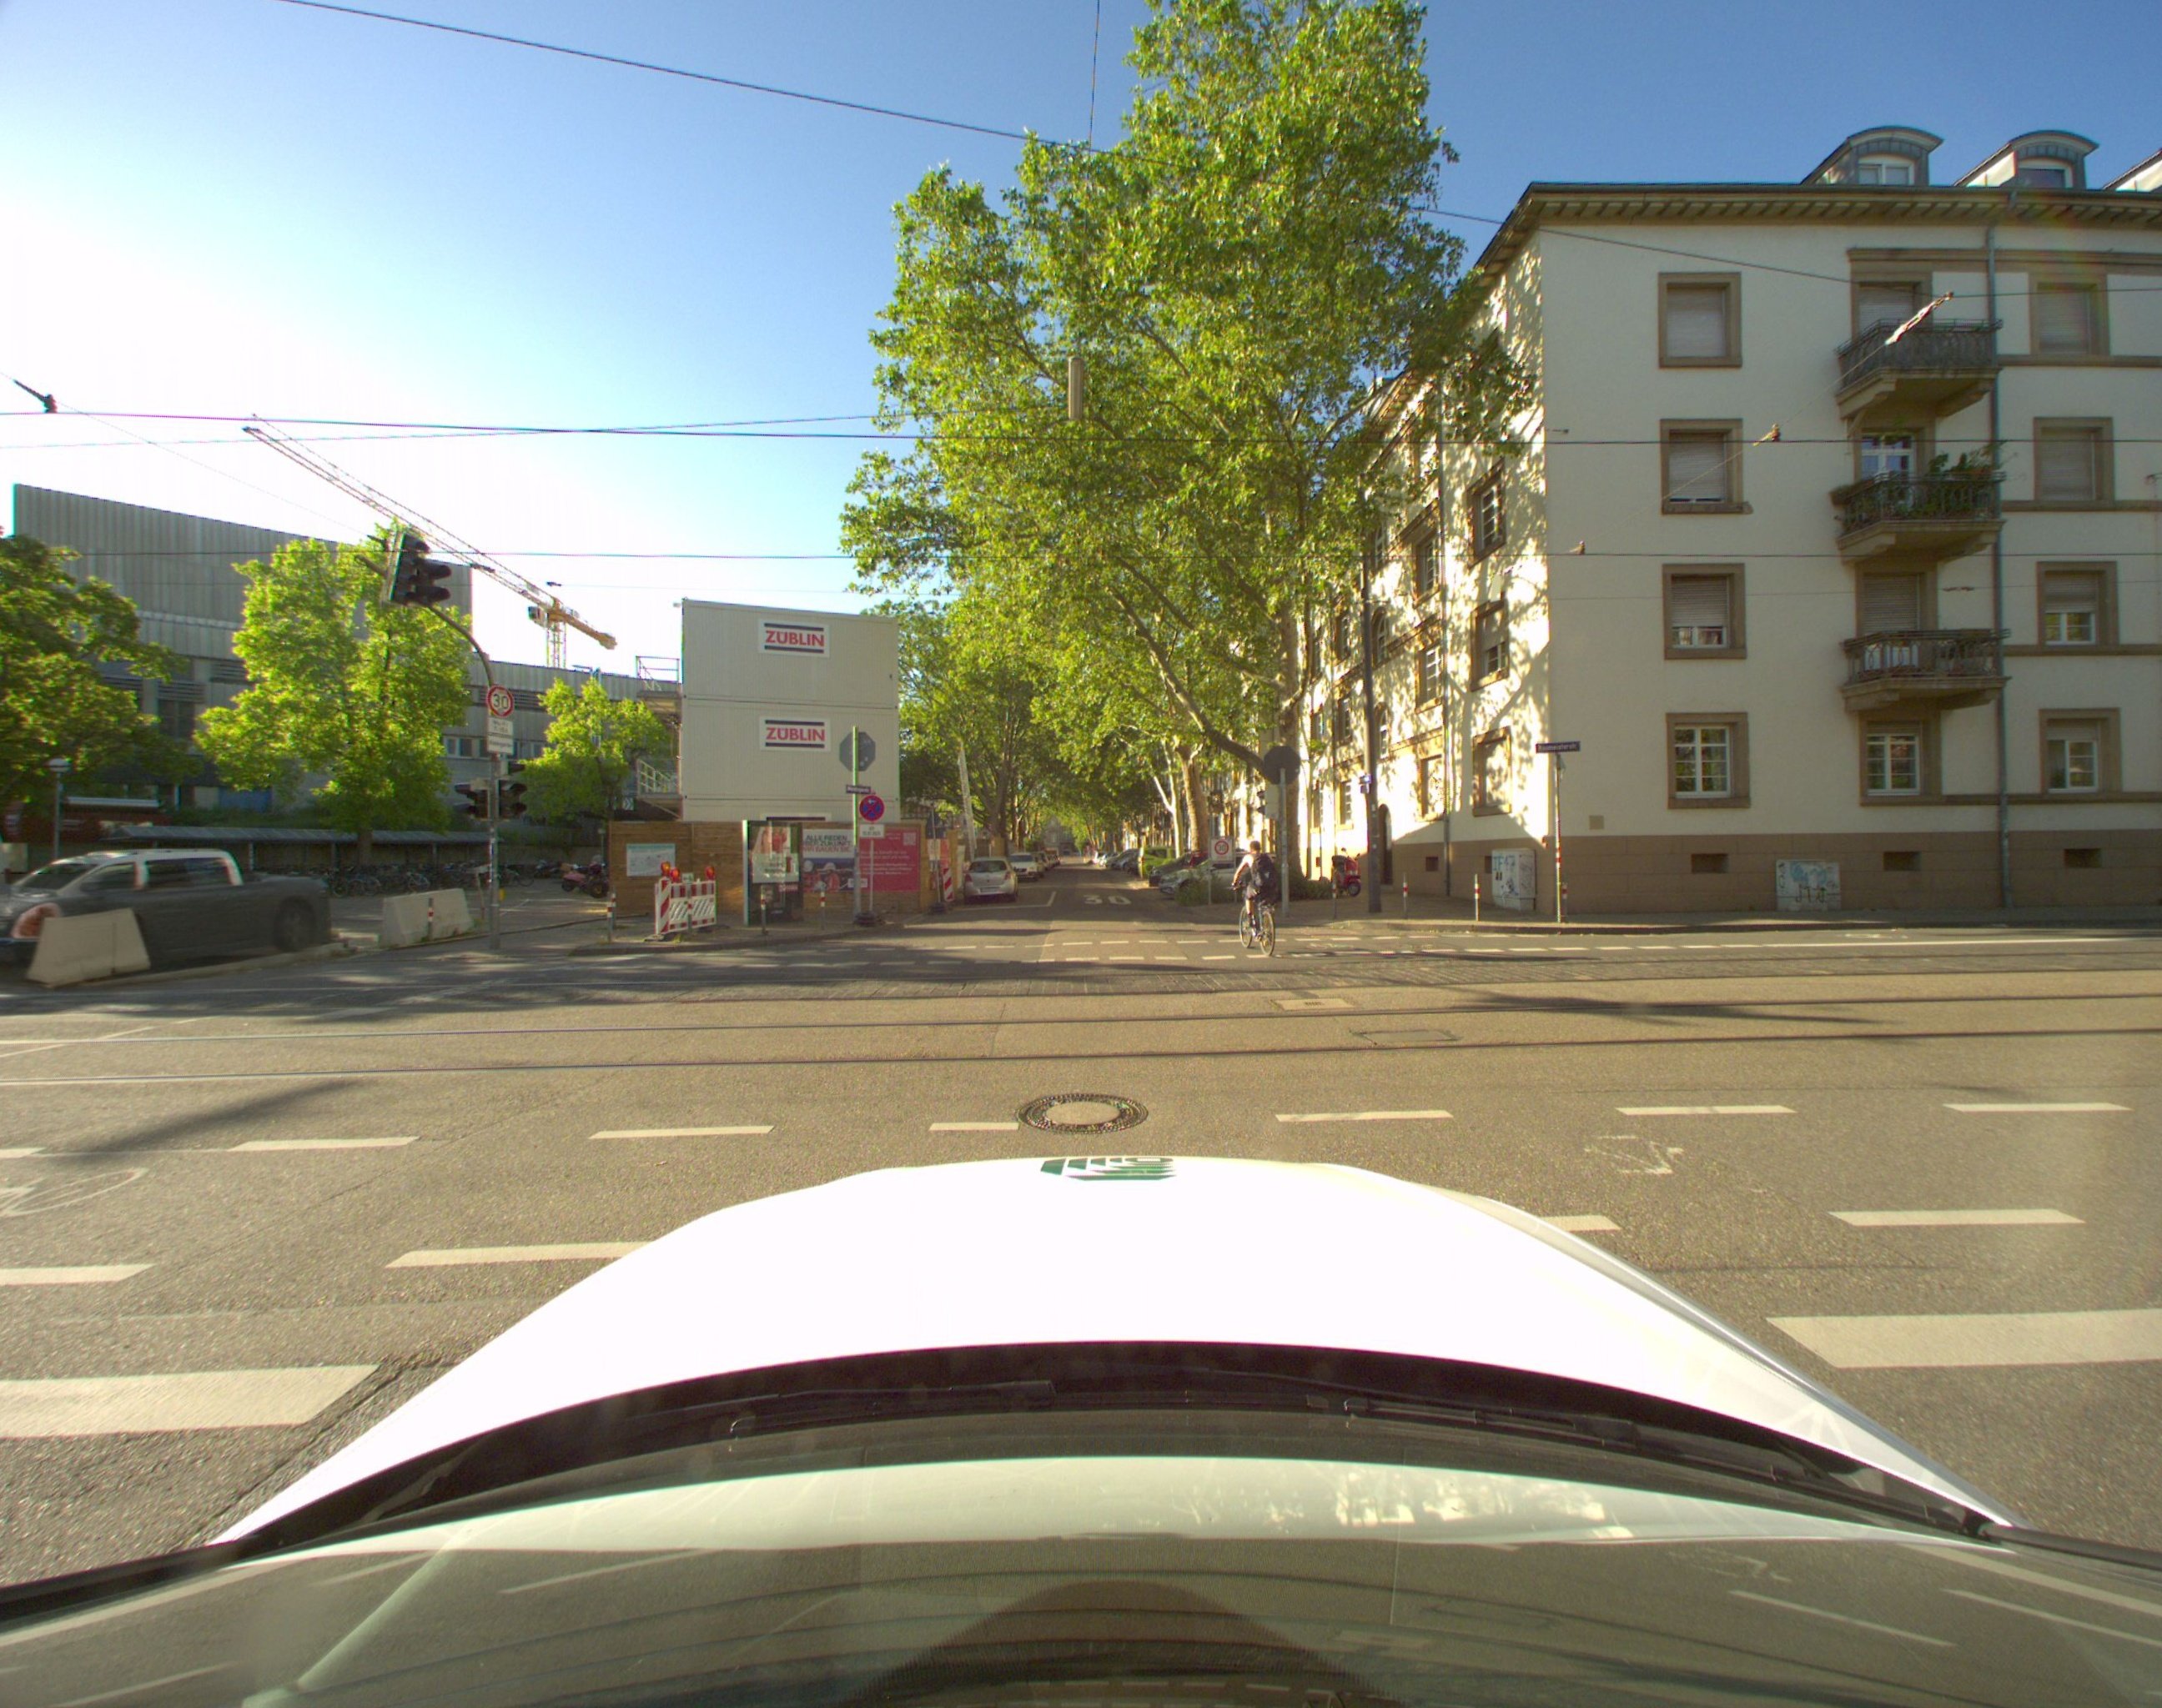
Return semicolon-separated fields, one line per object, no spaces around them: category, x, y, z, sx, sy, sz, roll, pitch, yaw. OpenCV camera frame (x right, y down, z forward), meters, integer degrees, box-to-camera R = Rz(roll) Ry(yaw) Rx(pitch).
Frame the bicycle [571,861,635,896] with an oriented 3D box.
bicycle;-18.487;0.930;31.498;2.060;1.257;0.537;-2;1;-39

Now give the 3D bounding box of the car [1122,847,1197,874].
car;4.902;0.402;51.203;4.450;1.571;1.727;-1;0;-2

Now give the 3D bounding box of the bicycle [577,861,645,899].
bicycle;-16.941;0.928;29.395;2.060;1.257;0.466;-2;1;-39

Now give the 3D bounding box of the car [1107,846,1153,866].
car;4.827;0.206;80.673;4.450;1.898;1.727;-1;0;-2

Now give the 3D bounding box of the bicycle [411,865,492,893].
bicycle;-27.323;1.091;35.336;3.062;1.147;0.823;-1;0;7

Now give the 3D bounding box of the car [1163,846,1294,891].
car;5.325;0.508;29.732;4.450;1.500;1.727;-1;0;-2

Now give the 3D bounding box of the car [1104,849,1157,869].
car;4.297;0.434;71.020;4.450;1.571;1.727;-1;0;-2

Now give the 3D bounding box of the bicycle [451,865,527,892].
bicycle;-27.014;1.110;37.190;3.062;1.147;0.823;-1;0;7

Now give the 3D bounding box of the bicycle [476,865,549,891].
bicycle;-26.775;1.122;38.374;3.062;1.147;0.823;-1;0;7

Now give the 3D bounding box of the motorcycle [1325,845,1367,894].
motorcycle;7.524;0.426;23.175;0.512;1.332;1.761;-1;0;-3

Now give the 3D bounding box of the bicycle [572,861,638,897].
bicycle;-17.852;0.928;30.560;2.060;1.257;0.466;-2;1;-39

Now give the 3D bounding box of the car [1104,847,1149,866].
car;4.615;0.231;83.435;4.450;1.898;1.727;-1;0;-2

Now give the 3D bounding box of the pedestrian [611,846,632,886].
pedestrian;-23.964;0.619;42.481;0.804;2.013;1.022;-1;0;-25

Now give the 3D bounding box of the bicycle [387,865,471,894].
bicycle;-27.451;1.081;34.305;3.062;1.147;0.823;-1;0;7

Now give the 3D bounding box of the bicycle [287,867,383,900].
bicycle;-27.962;1.107;30.538;3.062;1.147;0.823;-1;0;7

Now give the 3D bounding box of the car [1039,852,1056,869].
car;-3.305;0.644;80.987;1.661;1.562;4.276;-1;0;-2

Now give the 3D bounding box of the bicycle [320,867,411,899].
bicycle;-27.823;1.119;31.683;3.062;1.147;0.823;-1;0;7

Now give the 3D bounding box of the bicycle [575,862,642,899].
bicycle;-17.248;0.947;29.757;2.060;1.257;0.466;-2;1;-39

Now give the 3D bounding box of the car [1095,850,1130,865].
car;4.082;0.451;106.712;4.450;1.898;1.727;-1;0;-2

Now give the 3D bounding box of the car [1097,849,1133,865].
car;4.360;0.400;103.673;4.450;1.898;1.727;-1;0;-2

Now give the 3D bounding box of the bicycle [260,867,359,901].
bicycle;-27.976;1.097;29.541;3.062;1.147;0.823;-1;0;7

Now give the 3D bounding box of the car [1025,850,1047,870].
car;-3.619;0.478;66.435;1.661;1.562;4.612;-1;0;-2

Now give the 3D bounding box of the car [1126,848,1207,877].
car;4.926;0.467;47.252;4.450;1.571;1.727;-1;0;-2

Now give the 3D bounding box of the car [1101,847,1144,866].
car;4.386;0.242;86.299;4.450;1.898;1.727;-1;0;-2

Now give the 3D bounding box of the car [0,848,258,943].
car;-23.942;0.886;20.063;1.995;1.892;4.954;-1;2;4

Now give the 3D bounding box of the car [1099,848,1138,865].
car;4.398;0.272;96.245;4.450;1.898;1.727;-1;0;-2

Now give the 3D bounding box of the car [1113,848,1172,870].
car;4.800;0.391;63.791;4.450;1.571;1.727;-1;0;-2

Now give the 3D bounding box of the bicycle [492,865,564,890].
bicycle;-26.698;1.132;39.309;3.062;1.147;0.823;-1;0;7

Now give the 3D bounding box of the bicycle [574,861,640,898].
bicycle;-17.538;0.927;30.161;2.060;1.257;0.466;-2;1;-39

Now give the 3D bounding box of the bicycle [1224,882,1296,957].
bicycle;2.791;0.993;12.887;0.687;1.016;1.906;0;0;-1

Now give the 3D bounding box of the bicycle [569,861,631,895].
bicycle;-19.170;0.933;32.466;2.060;1.257;0.537;-2;1;-39

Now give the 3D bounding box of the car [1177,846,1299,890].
car;6.134;0.535;32.121;4.450;1.571;1.727;-1;0;-2

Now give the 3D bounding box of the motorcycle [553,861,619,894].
motorcycle;-20.168;0.935;33.210;2.223;1.257;0.537;-2;1;-39

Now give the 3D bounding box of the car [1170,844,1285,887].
car;6.100;0.471;34.207;4.450;1.671;1.727;-1;0;-2

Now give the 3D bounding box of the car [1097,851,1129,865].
car;4.516;0.559;115.850;4.450;1.898;1.727;-1;0;-2

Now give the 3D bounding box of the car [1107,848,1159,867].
car;4.648;0.333;73.348;4.450;1.571;1.727;-1;0;-2

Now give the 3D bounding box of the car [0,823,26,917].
car;-30.033;0.571;19.709;1.989;2.530;5.376;-1;3;-4

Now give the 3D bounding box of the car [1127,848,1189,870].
car;5.703;0.351;60.610;4.450;1.571;1.727;-1;0;-2

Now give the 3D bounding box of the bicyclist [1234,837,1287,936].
bicyclist;2.798;0.497;12.763;0.674;1.513;0.668;0;0;-1

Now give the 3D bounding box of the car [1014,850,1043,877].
car;-3.164;0.561;49.699;1.661;1.562;4.515;-1;0;-2

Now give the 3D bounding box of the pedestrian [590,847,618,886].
pedestrian;-25.057;0.628;42.780;0.795;2.013;0.941;-1;0;9

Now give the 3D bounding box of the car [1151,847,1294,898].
car;4.685;0.599;27.260;4.450;1.571;1.727;-1;0;-2

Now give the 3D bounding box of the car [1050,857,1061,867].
car;-4.049;1.209;127.126;1.661;1.562;4.215;-1;0;-2

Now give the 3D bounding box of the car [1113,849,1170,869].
car;4.901;0.406;66.268;4.450;1.571;1.727;-1;0;-2

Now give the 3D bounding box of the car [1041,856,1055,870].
car;-3.985;1.072;97.545;1.661;1.562;4.215;-1;0;-2

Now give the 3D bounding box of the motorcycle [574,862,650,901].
motorcycle;-16.377;0.946;28.463;2.223;1.257;0.537;-2;1;-39

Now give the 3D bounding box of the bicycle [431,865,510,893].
bicycle;-27.155;1.100;36.221;3.062;1.147;0.823;-1;0;7

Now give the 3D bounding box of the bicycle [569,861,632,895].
bicycle;-18.856;0.932;31.966;2.060;1.257;0.537;-2;1;-39

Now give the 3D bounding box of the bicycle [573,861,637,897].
bicycle;-18.124;0.925;31.037;2.060;1.257;0.537;-2;1;-39

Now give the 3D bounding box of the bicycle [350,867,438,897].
bicycle;-27.613;1.130;32.744;3.062;1.147;0.823;-1;0;7

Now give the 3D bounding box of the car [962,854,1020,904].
car;-3.021;0.804;27.991;1.639;1.494;3.996;-3;0;-2

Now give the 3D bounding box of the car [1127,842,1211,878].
car;4.855;0.322;45.235;4.451;1.836;1.727;-1;0;-3

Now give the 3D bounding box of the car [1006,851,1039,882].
car;-3.130;0.640;44.168;1.661;1.562;3.996;-1;0;-2

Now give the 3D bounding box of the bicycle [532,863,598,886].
bicycle;-27.149;1.069;42.855;3.062;1.147;0.823;-1;0;7
